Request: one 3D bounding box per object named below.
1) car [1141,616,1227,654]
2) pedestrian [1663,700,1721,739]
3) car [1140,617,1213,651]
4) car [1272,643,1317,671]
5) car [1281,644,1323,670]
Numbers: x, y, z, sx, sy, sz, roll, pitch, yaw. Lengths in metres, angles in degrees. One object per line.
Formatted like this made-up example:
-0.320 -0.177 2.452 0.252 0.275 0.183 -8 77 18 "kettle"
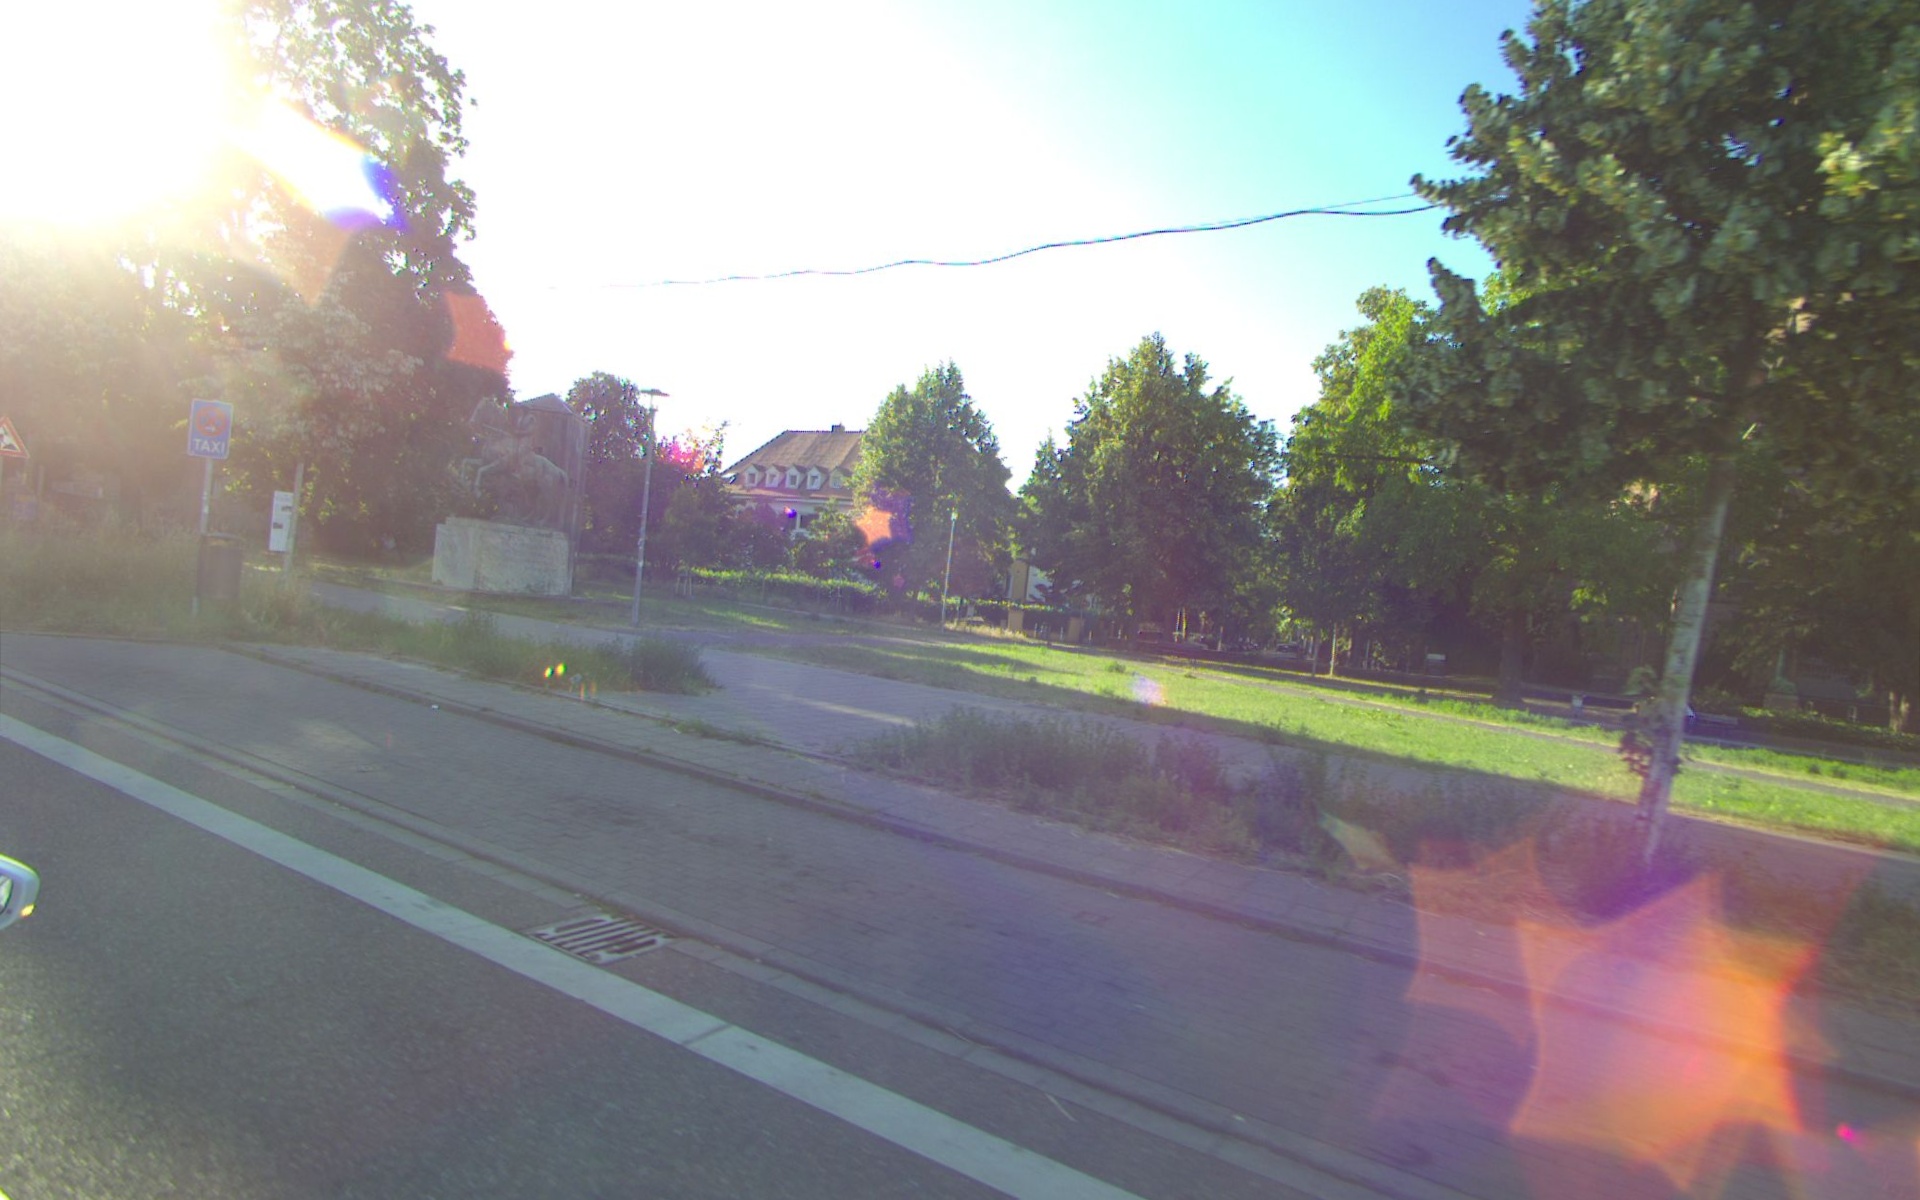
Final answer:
13.397 2.087 60.072 4.554 1.740 1.998 6 1 24 "car"
22.836 3.705 31.371 1.266 1.006 1.377 7 0 41 "pedestrian"
13.726 2.166 63.812 4.087 1.650 1.868 7 1 29 "car"
22.034 3.751 66.141 1.572 1.528 4.147 7 -1 34 "car"
24.406 4.064 71.718 1.603 1.528 4.146 7 0 34 "car"
